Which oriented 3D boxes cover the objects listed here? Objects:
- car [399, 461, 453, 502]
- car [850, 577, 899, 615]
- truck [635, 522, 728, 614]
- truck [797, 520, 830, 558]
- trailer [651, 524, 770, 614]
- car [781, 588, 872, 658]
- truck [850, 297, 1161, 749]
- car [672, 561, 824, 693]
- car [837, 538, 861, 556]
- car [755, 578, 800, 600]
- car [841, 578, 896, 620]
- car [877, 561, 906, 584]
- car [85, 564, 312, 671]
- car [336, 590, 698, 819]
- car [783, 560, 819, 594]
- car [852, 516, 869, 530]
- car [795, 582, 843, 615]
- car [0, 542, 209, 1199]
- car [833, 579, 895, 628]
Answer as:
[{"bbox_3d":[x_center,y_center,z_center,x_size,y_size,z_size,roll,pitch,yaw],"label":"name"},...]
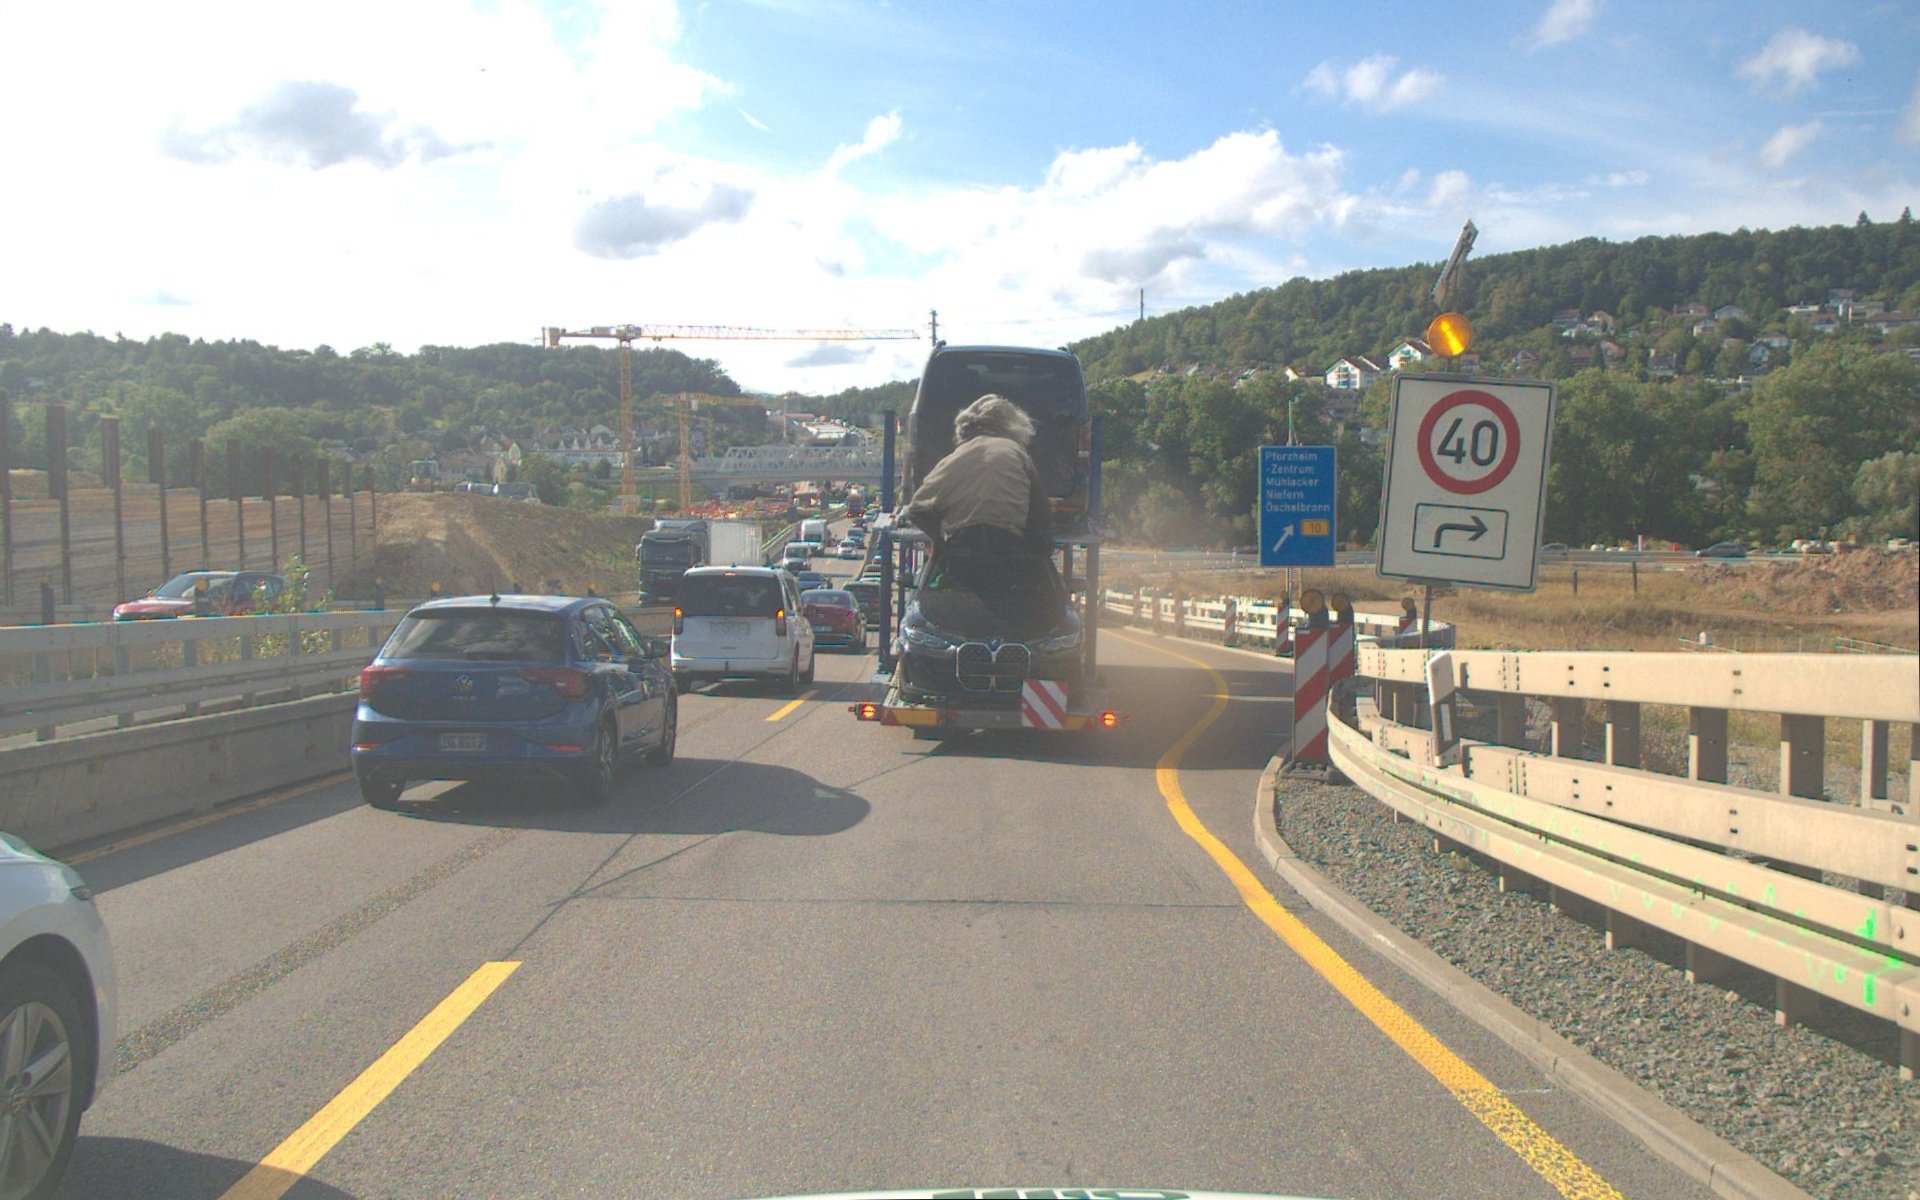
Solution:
[{"bbox_3d":[-35.374,-7.802,109.711,1.954,2.177,5.319,-4,0,-2],"label":"car"},{"bbox_3d":[-3.719,-0.169,72.673,1.953,1.579,3.999,1,0,0],"label":"car"},{"bbox_3d":[-12.290,-1.345,73.402,2.718,3.854,6.021,1,0,3],"label":"truck"},{"bbox_3d":[-14.270,-5.908,161.745,2.646,3.369,7.534,1,0,-1],"label":"truck"},{"bbox_3d":[-11.835,-1.333,80.132,2.761,3.908,13.809,1,0,4],"label":"trailer"},{"bbox_3d":[-3.211,0.544,40.455,1.953,1.583,4.399,1,0,-2],"label":"car"},{"bbox_3d":[0.395,-0.648,24.525,2.697,4.024,18.887,2,0,0],"label":"truck"},{"bbox_3d":[-3.133,0.390,25.182,1.786,1.823,3.999,1,0,0],"label":"car"},{"bbox_3d":[-10.436,-4.993,155.657,2.082,1.703,4.272,1,2,-1],"label":"car"},{"bbox_3d":[-11.588,-0.664,105.305,1.879,1.295,4.003,1,0,8],"label":"car"},{"bbox_3d":[-3.603,-0.020,65.654,1.953,1.579,3.999,1,0,0],"label":"car"},{"bbox_3d":[-4.958,-1.991,120.676,1.953,1.579,3.999,1,0,0],"label":"car"},{"bbox_3d":[-13.907,0.312,30.525,1.883,1.798,4.329,1,0,5],"label":"car"},{"bbox_3d":[-3.172,0.662,12.670,1.686,1.447,4.000,0,1,0],"label":"car"},{"bbox_3d":[-12.210,-1.761,127.378,2.212,2.444,5.866,1,0,-1],"label":"car"},{"bbox_3d":[-12.486,-9.650,207.698,1.815,1.663,4.749,1,2,-1],"label":"car"},{"bbox_3d":[-7.865,-0.078,92.349,1.951,1.757,4.125,1,0,5],"label":"car"},{"bbox_3d":[-2.851,0.630,2.192,1.734,1.517,4.515,-1,-1,-1],"label":"car"},{"bbox_3d":[-3.334,0.124,56.834,1.955,1.579,3.995,1,0,-5],"label":"car"}]
